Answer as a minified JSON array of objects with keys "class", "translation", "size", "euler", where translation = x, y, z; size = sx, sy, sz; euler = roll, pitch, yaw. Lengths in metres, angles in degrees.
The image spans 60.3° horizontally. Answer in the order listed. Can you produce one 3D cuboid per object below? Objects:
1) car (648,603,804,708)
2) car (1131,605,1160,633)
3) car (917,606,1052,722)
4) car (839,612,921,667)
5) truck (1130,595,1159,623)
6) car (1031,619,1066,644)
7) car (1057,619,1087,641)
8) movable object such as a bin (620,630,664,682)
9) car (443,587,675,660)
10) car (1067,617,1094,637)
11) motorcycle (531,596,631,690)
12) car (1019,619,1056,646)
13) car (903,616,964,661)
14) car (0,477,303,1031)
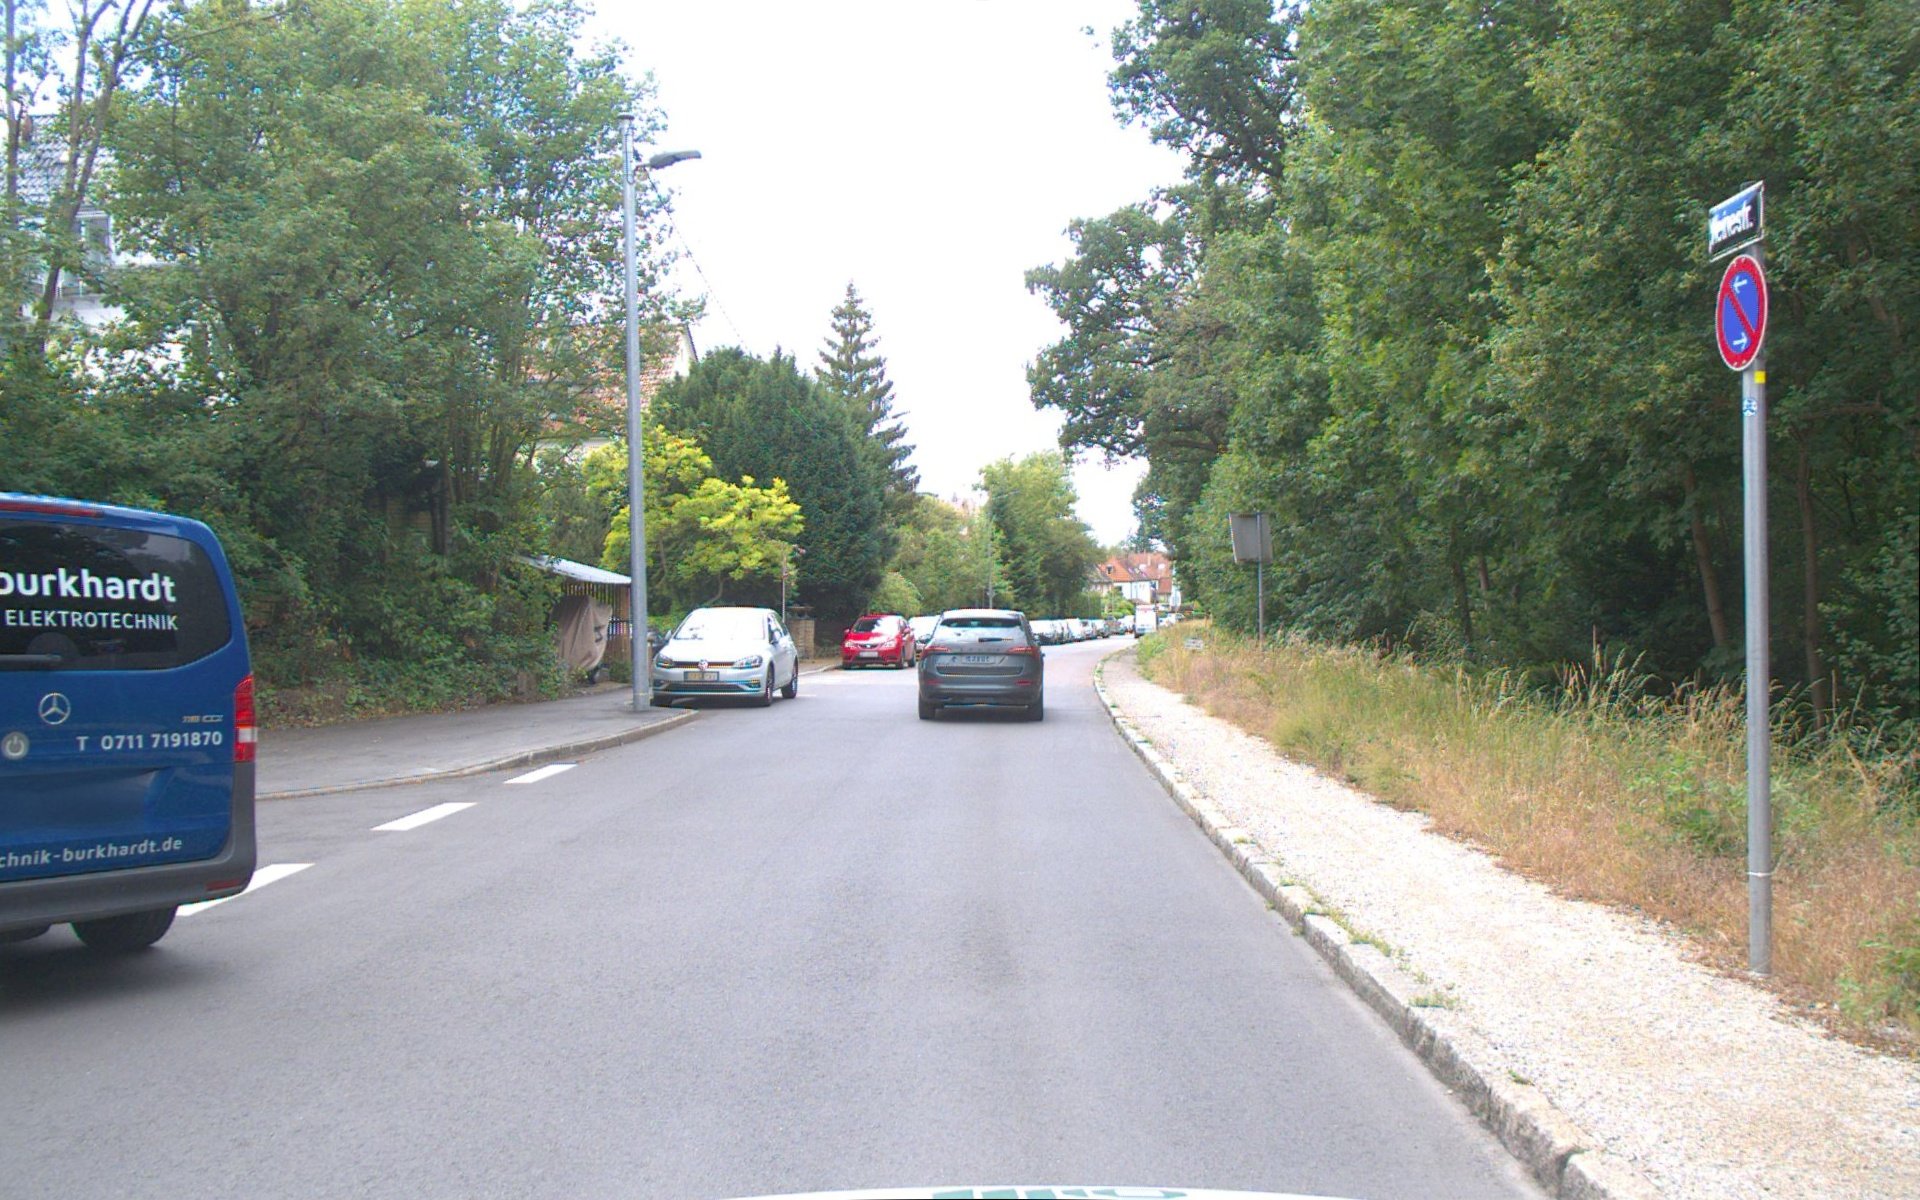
[{"class":"car","translation":[-3.560,0.810,25.848],"size":[1.670,1.493,4.077],"euler":[1,-1,2]},{"class":"car","translation":[14.371,1.466,127.841],"size":[2.159,2.100,6.139],"euler":[0,0,7]},{"class":"car","translation":[0.431,0.845,23.408],"size":[1.698,1.472,4.182],"euler":[1,-1,3]},{"class":"car","translation":[-2.147,1.050,45.318],"size":[1.600,1.429,4.003],"euler":[1,-1,6]},{"class":"truck","translation":[19.273,0.961,172.464],"size":[2.704,2.843,9.275],"euler":[0,0,8]},{"class":"car","translation":[5.377,1.891,99.877],"size":[1.711,1.429,4.003],"euler":[0,-1,8]},{"class":"car","translation":[7.653,2.006,112.661],"size":[1.711,1.429,4.003],"euler":[0,-1,8]},{"class":"movable object such as a bin","translation":[-5.809,1.014,30.260],"size":[0.578,0.925,0.701],"euler":[0,-1,9]},{"class":"car","translation":[-8.474,0.487,35.142],"size":[4.386,1.466,1.880],"euler":[1,-1,5]},{"class":"car","translation":[8.953,1.981,122.670],"size":[1.711,1.429,4.003],"euler":[0,-1,8]},{"class":"motorcycle","translation":[-6.417,0.705,28.193],"size":[0.792,1.511,2.897],"euler":[1,-1,5]},{"class":"car","translation":[4.392,1.830,93.583],"size":[1.711,1.429,4.003],"euler":[0,-1,8]},{"class":"car","translation":[-0.859,1.279,55.596],"size":[1.712,1.429,4.002],"euler":[1,-1,3]},{"class":"car","translation":[-5.012,0.517,7.157],"size":[4.438,1.913,1.936],"euler":[0,0,35]}]
